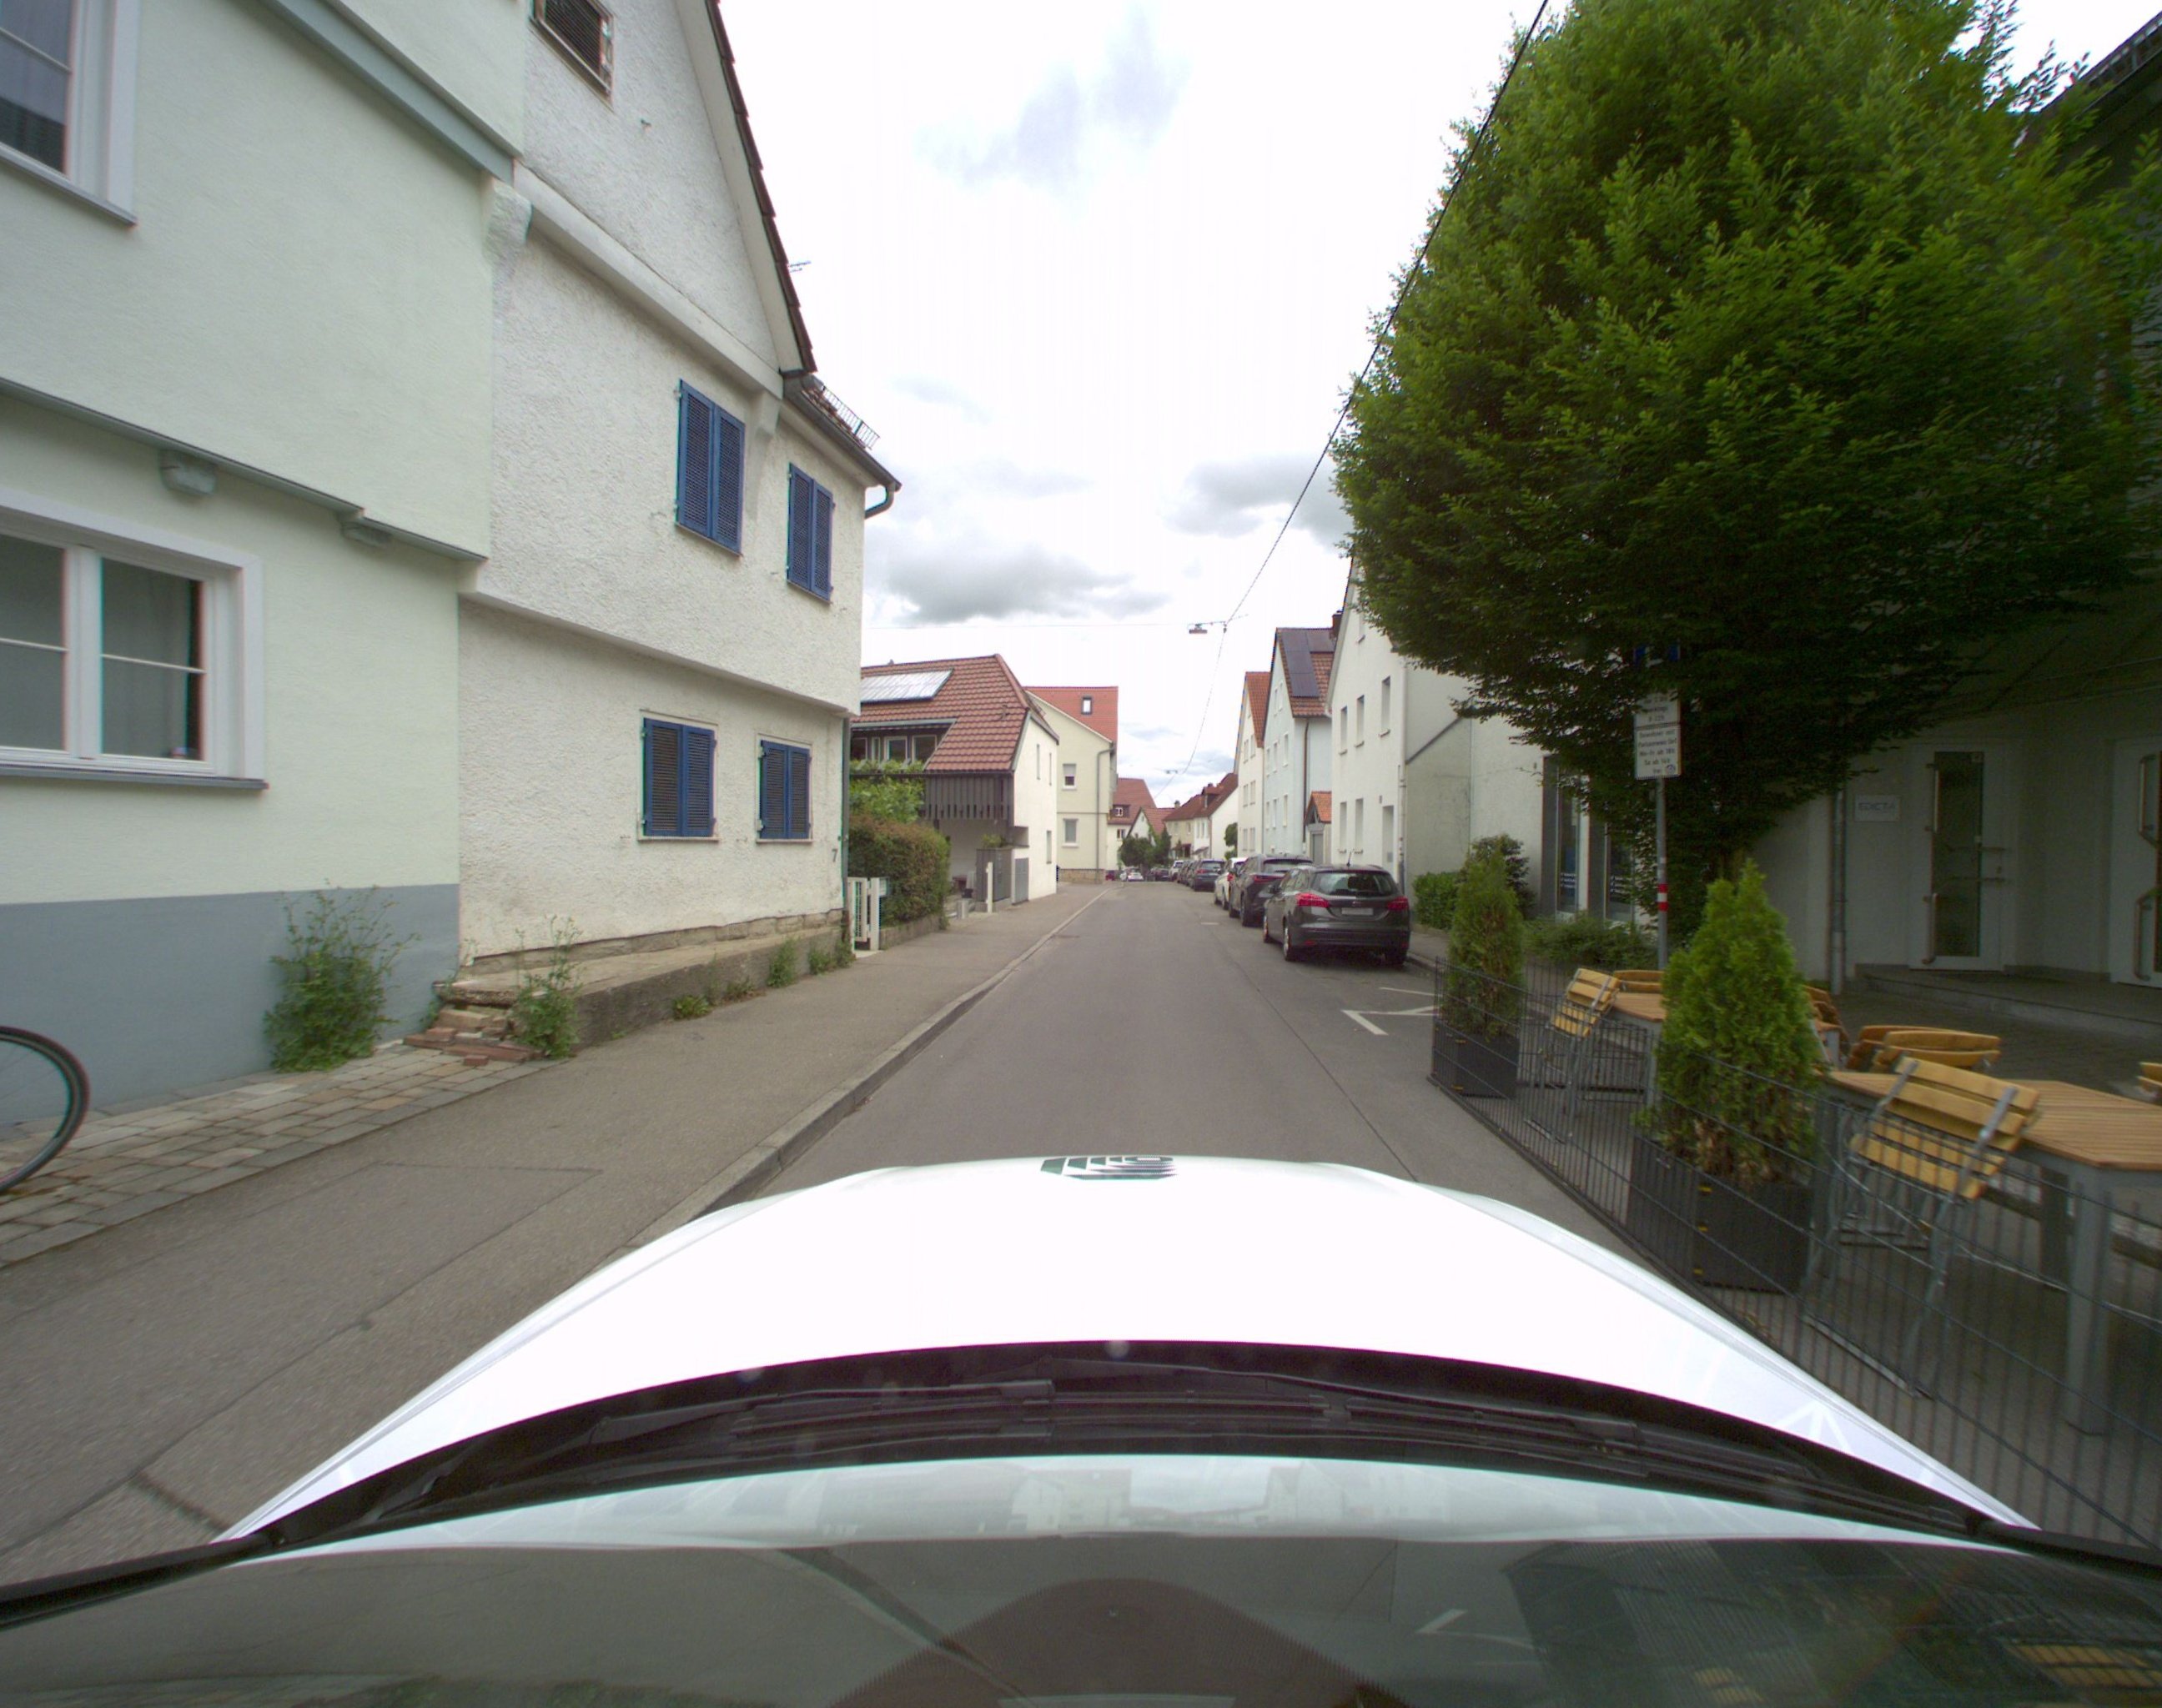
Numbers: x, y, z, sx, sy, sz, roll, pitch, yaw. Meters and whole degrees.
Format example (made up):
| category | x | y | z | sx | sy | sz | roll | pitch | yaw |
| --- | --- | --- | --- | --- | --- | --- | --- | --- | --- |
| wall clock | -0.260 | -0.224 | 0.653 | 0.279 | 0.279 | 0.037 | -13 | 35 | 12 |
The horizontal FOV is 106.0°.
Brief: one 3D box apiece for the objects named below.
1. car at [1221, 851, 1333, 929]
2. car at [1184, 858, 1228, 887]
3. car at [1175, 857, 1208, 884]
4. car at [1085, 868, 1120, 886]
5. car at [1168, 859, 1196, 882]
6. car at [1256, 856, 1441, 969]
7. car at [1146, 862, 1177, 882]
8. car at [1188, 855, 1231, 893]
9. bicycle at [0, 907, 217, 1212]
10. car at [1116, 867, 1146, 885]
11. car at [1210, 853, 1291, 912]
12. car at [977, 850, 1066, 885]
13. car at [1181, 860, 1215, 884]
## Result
| category | x | y | z | sx | sy | sz | roll | pitch | yaw |
| --- | --- | --- | --- | --- | --- | --- | --- | --- | --- |
| car | 4.539 | 0.769 | 19.593 | 1.854 | 1.633 | 4.907 | 0 | 0 | 4 |
| car | 6.568 | 0.964 | 43.323 | 1.910 | 1.410 | 4.660 | -1 | -1 | 4 |
| car | 7.280 | 1.113 | 53.872 | 1.729 | 1.610 | 4.002 | 3 | -1 | 3 |
| car | 2.318 | 2.531 | 89.467 | 2.007 | 1.684 | 3.961 | -5 | -1 | -30 |
| car | 7.891 | 1.289 | 63.893 | 1.866 | 1.713 | 4.149 | 0 | -1 | 2 |
| car | 4.188 | 0.801 | 13.612 | 1.938 | 1.508 | 4.828 | 1 | 0 | 6 |
| car | 7.328 | 1.640 | 74.721 | 1.992 | 1.713 | 3.989 | 0 | -3 | -7 |
| car | 6.053 | 0.907 | 38.617 | 1.745 | 1.628 | 4.542 | 2 | 0 | 6 |
| bicycle | -4.293 | 0.781 | 2.580 | 0.439 | 1.039 | 2.102 | 5 | 2 | 19 |
| car | 5.138 | 2.219 | 83.930 | 1.965 | 1.713 | 3.982 | 1 | 0 | -13 |
| car | 5.175 | 0.799 | 25.455 | 1.983 | 1.615 | 4.887 | 2 | 0 | 6 |
| car | -2.750 | 0.646 | 38.327 | 3.709 | 1.412 | 2.125 | 3 | -1 | 9 |
| car | 6.941 | 1.108 | 48.657 | 1.788 | 1.352 | 4.079 | 1 | -2 | 4 |
